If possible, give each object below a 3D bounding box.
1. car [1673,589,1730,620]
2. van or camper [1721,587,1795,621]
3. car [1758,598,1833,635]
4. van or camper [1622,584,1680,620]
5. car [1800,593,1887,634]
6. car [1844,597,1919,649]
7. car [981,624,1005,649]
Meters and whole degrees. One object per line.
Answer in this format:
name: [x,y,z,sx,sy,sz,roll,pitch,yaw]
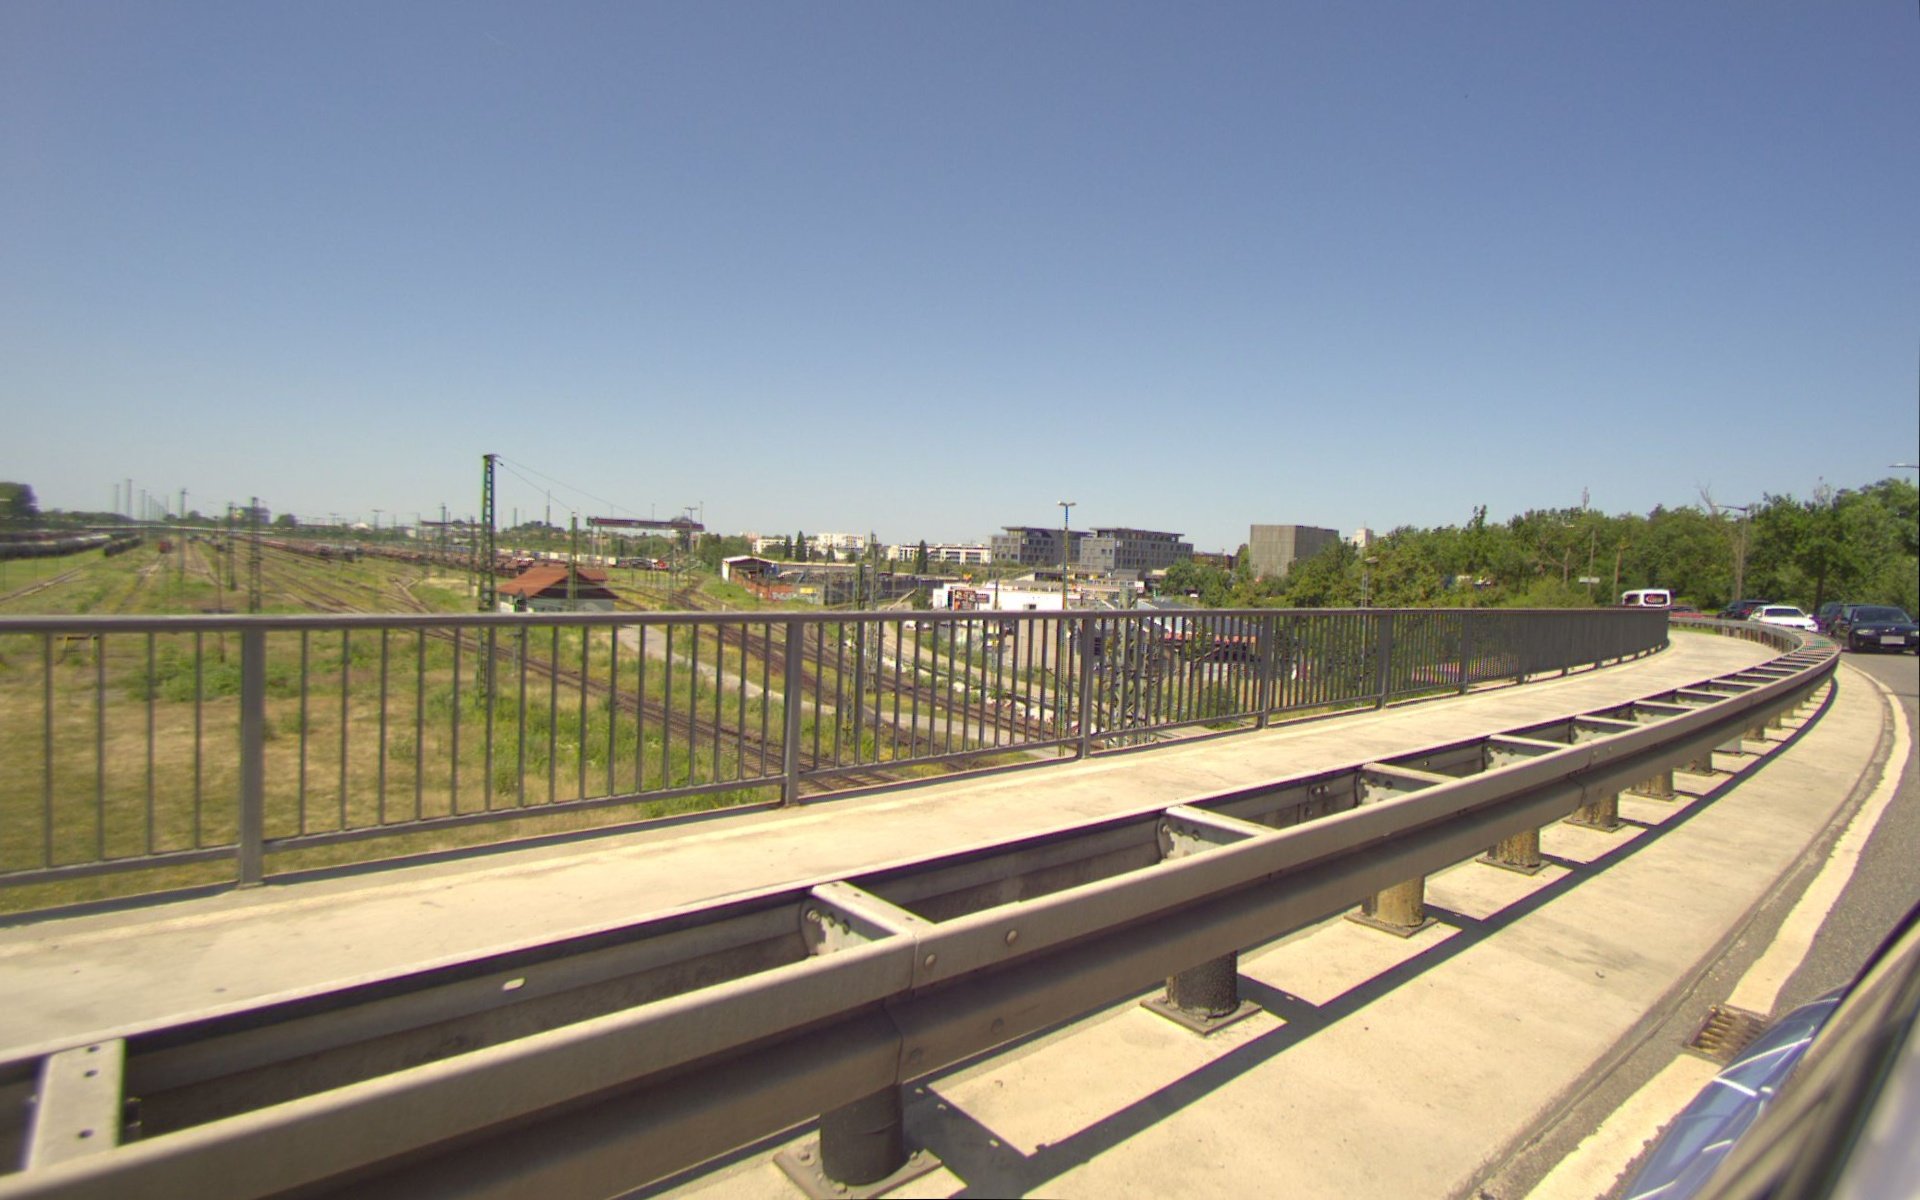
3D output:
car: [43.668,0.224,59.696,1.883,1.675,4.221,1,2,26]
van or camper: [46.443,0.190,59.021,1.976,1.782,4.667,2,2,20]
car: [34.652,0.641,42.051,1.803,1.446,3.675,1,0,30]
van or camper: [52.629,0.128,77.196,2.027,2.569,5.850,1,1,18]
car: [41.599,0.596,47.764,1.881,1.675,4.224,1,2,24]
car: [27.865,0.650,30.402,1.561,1.434,4.069,1,0,36]
car: [3.524,3.842,106.941,2.115,2.382,4.921,-3,-1,5]
